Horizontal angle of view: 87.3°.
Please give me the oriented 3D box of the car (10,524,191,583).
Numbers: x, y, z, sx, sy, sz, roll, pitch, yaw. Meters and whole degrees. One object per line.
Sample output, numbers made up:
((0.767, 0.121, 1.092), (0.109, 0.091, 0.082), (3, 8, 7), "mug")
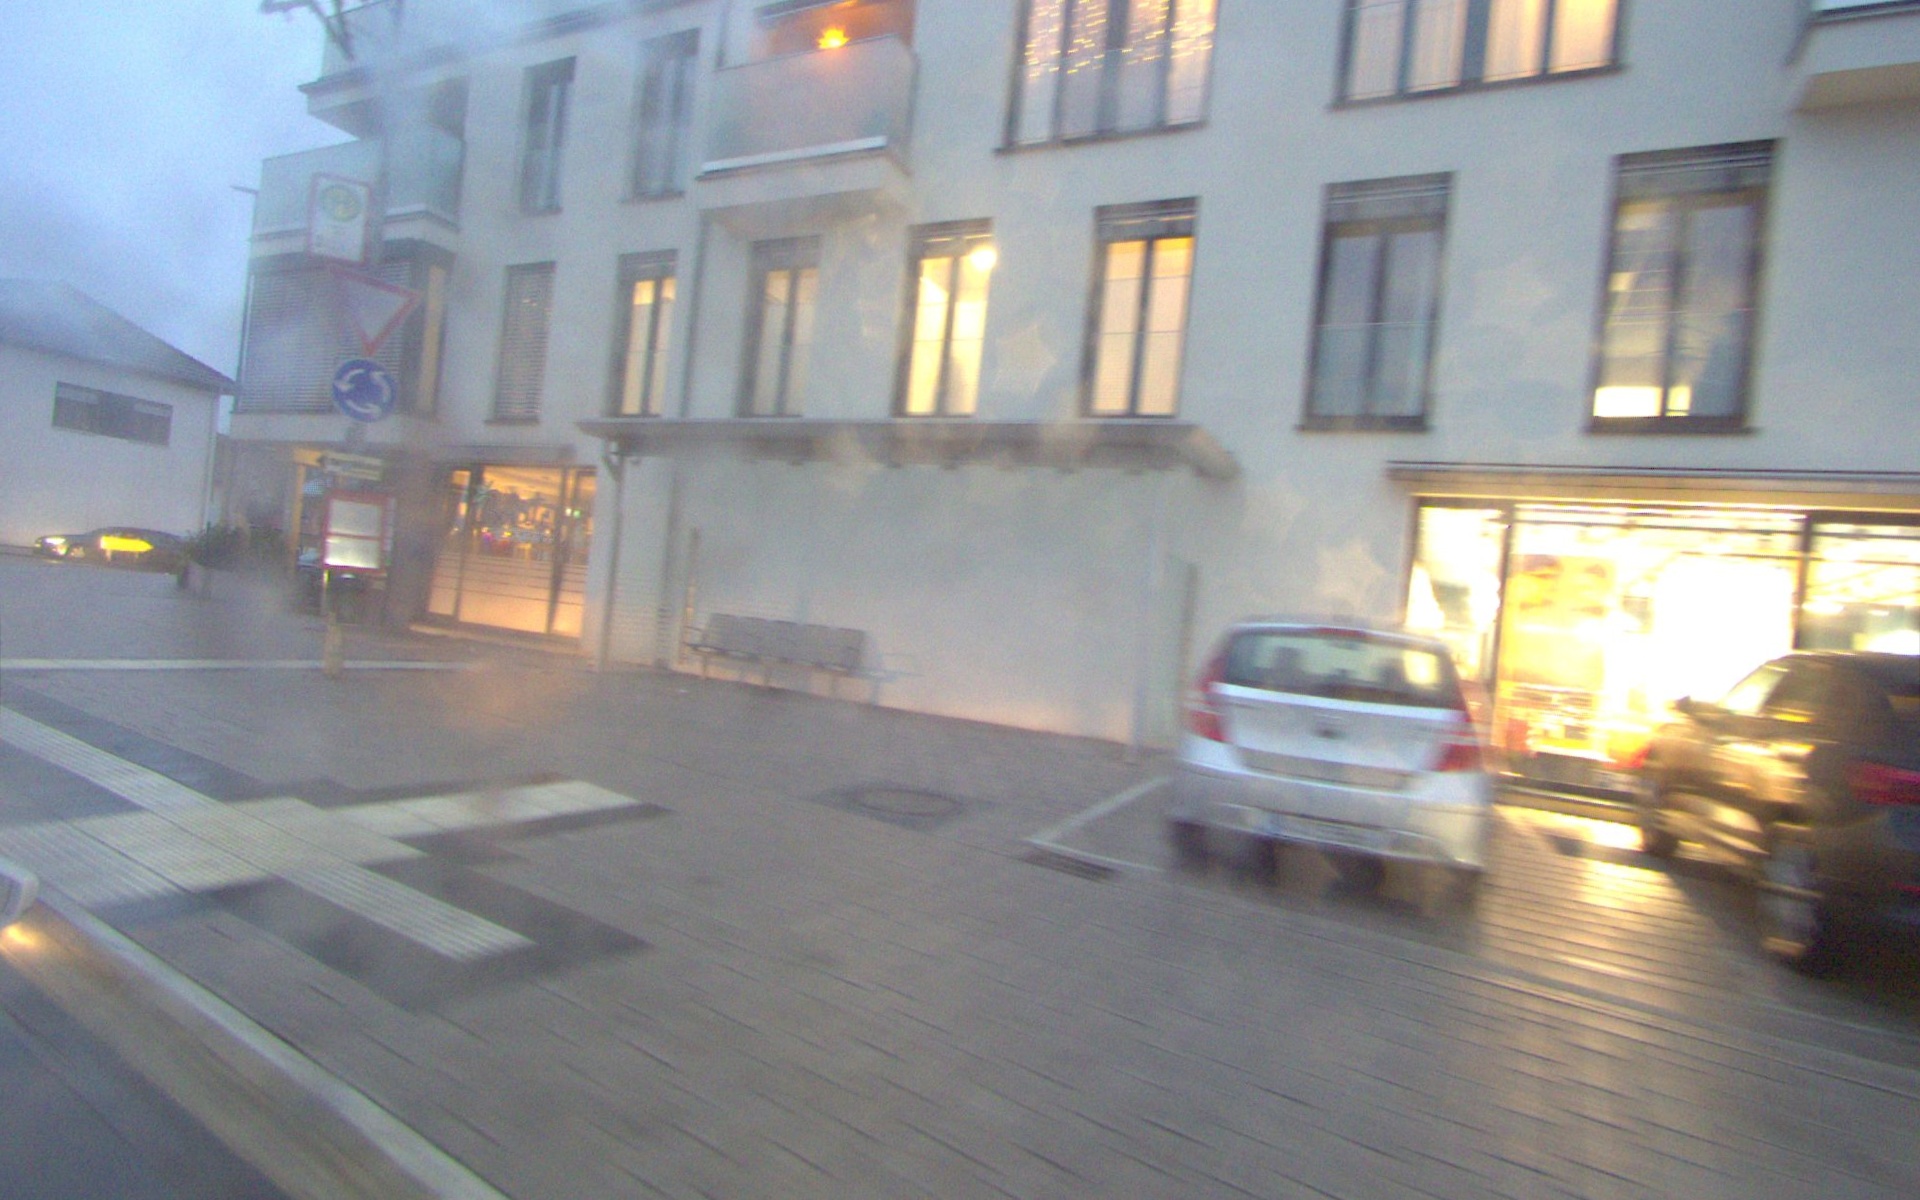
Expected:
((-28.975, -1.535, 34.082), (1.818, 1.399, 4.235), (3, -4, 25), "car")

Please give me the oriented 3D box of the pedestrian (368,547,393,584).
((-27.789, -1.643, 48.220), (0.574, 1.641, 0.714), (8, 0, 40), "pedestrian")

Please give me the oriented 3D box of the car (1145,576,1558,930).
((2.536, 0.748, 6.802), (1.780, 1.522, 3.997), (4, 0, 20), "car")

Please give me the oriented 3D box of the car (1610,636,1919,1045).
((5.324, 1.063, 5.636), (1.939, 1.512, 4.517), (5, 1, 23), "car")
